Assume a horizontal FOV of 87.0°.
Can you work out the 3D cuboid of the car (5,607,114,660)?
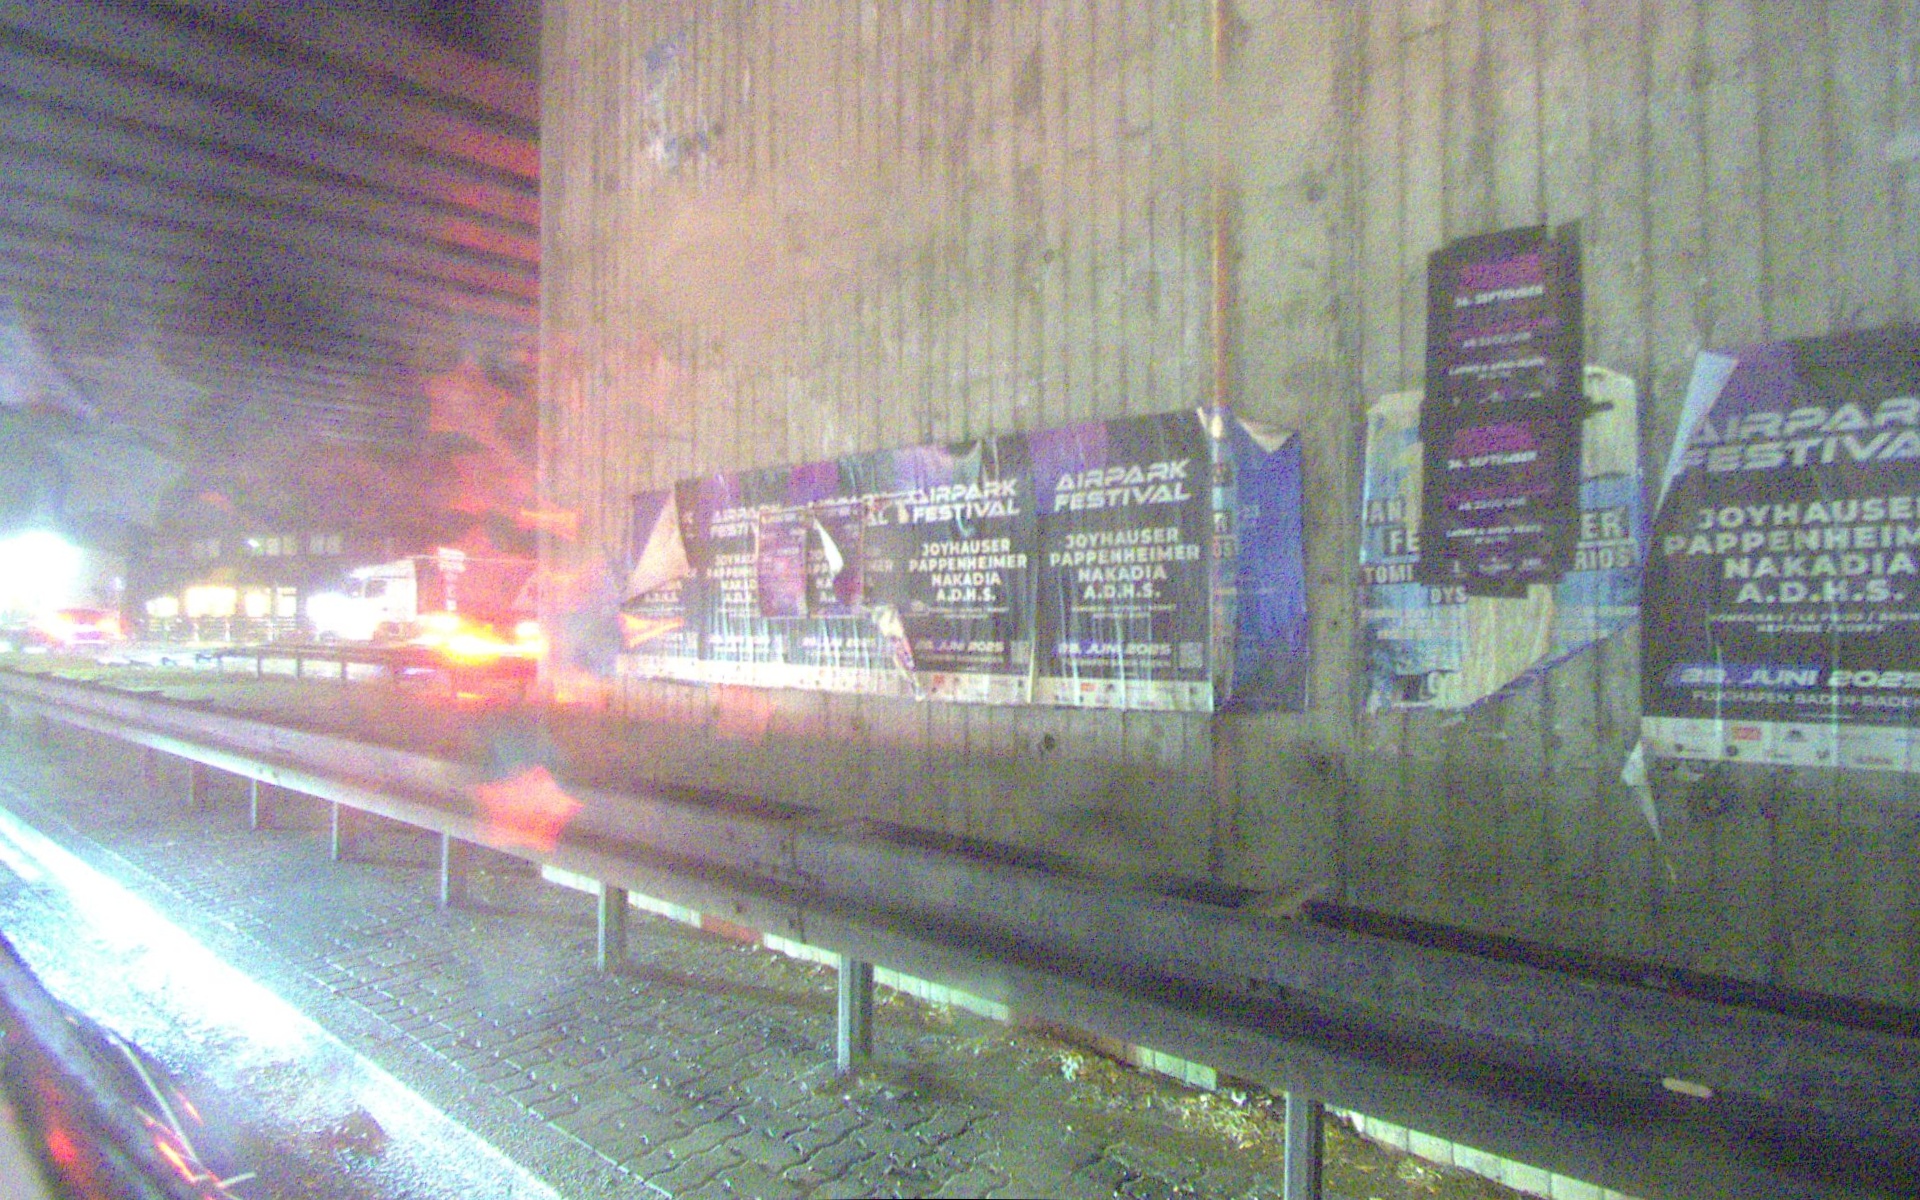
[{"bbox_3d":[-31.174,1.131,35.005,4.486,1.722,1.735,0,-2,34],"label":"car"}]

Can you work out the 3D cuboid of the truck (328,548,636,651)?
[{"bbox_3d":[-22.890,0.003,49.626,13.480,4.474,2.746,0,-1,-43],"label":"truck"}]
